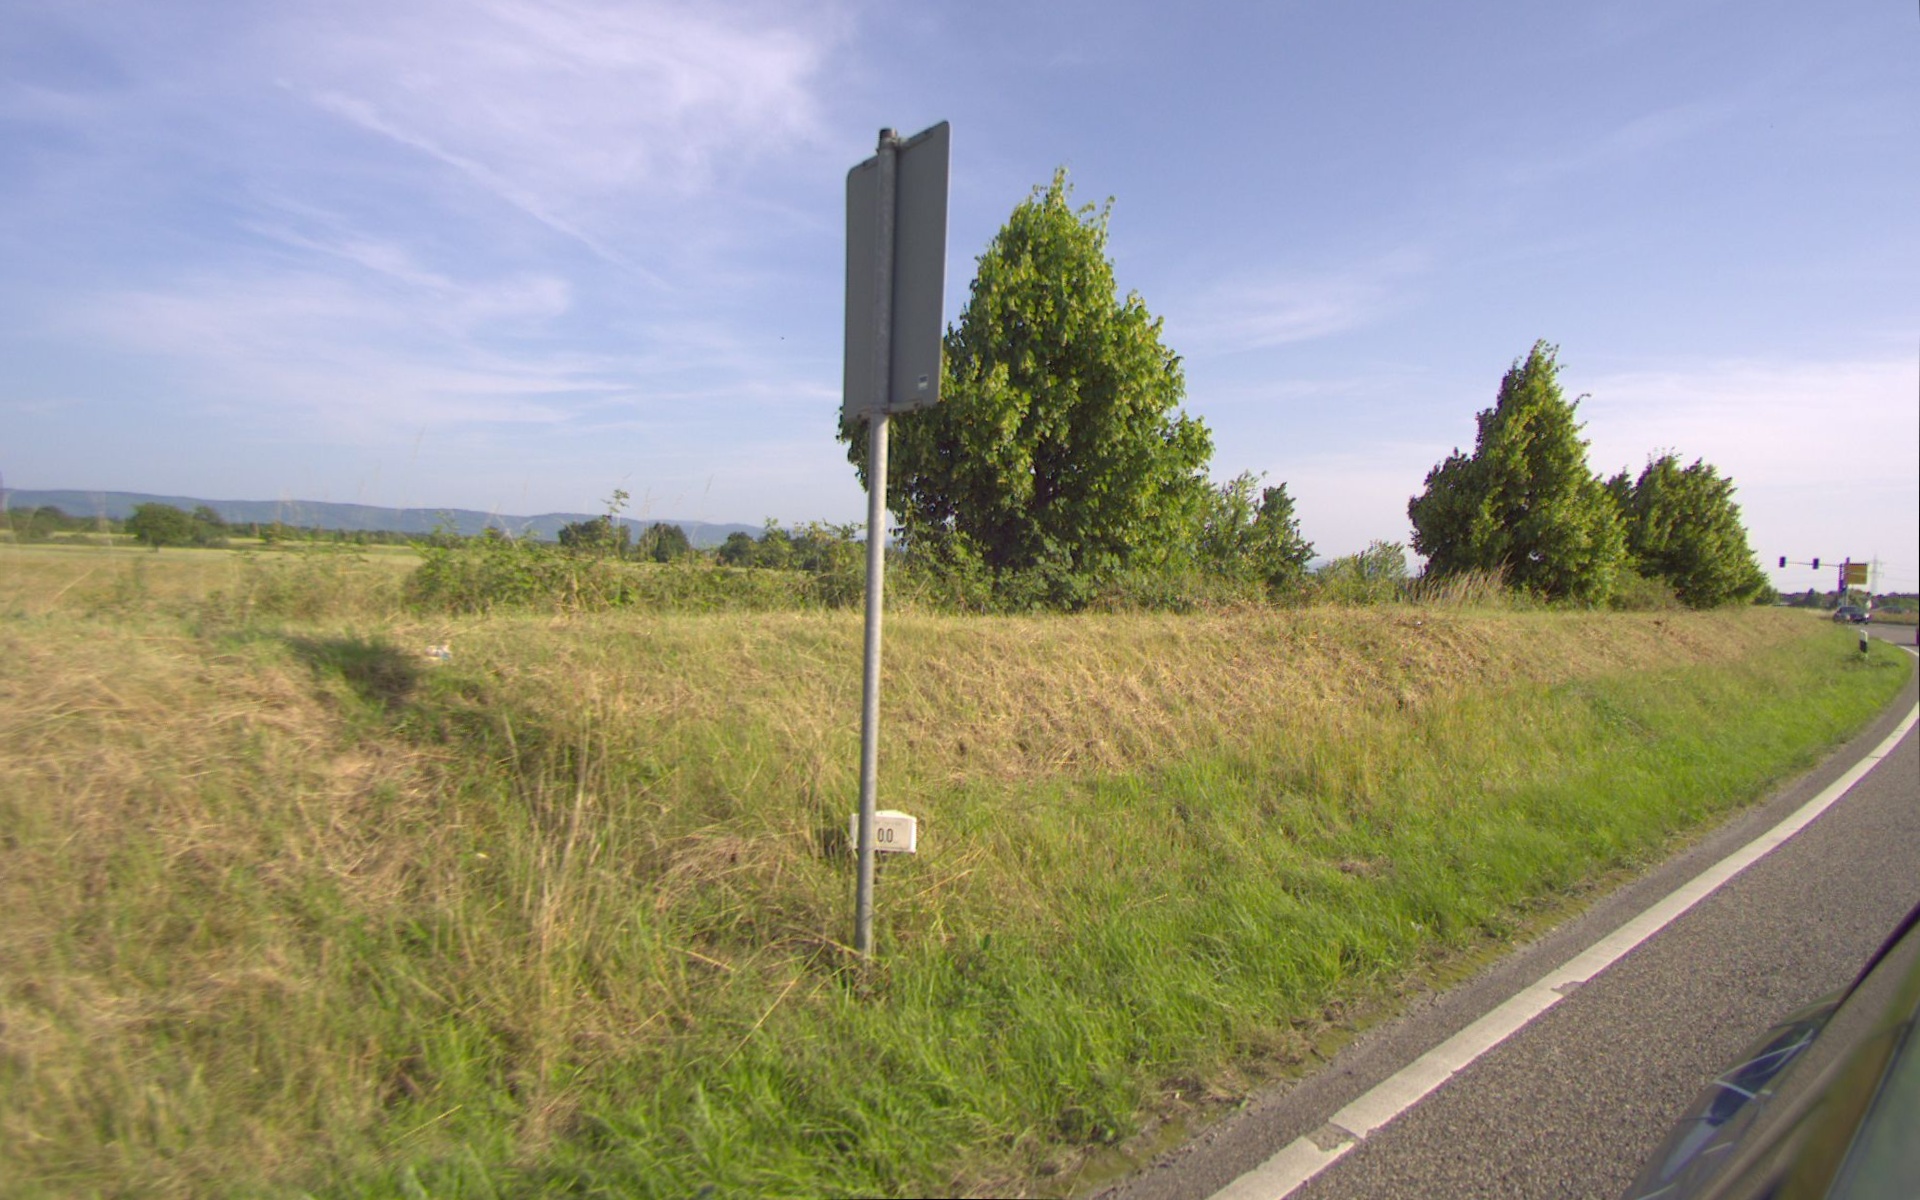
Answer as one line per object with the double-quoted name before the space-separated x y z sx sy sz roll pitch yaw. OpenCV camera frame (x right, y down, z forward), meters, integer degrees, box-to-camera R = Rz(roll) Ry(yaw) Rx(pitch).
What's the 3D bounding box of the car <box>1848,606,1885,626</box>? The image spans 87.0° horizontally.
"car" 73.942 1.278 82.618 1.741 1.549 3.950 2 1 35
